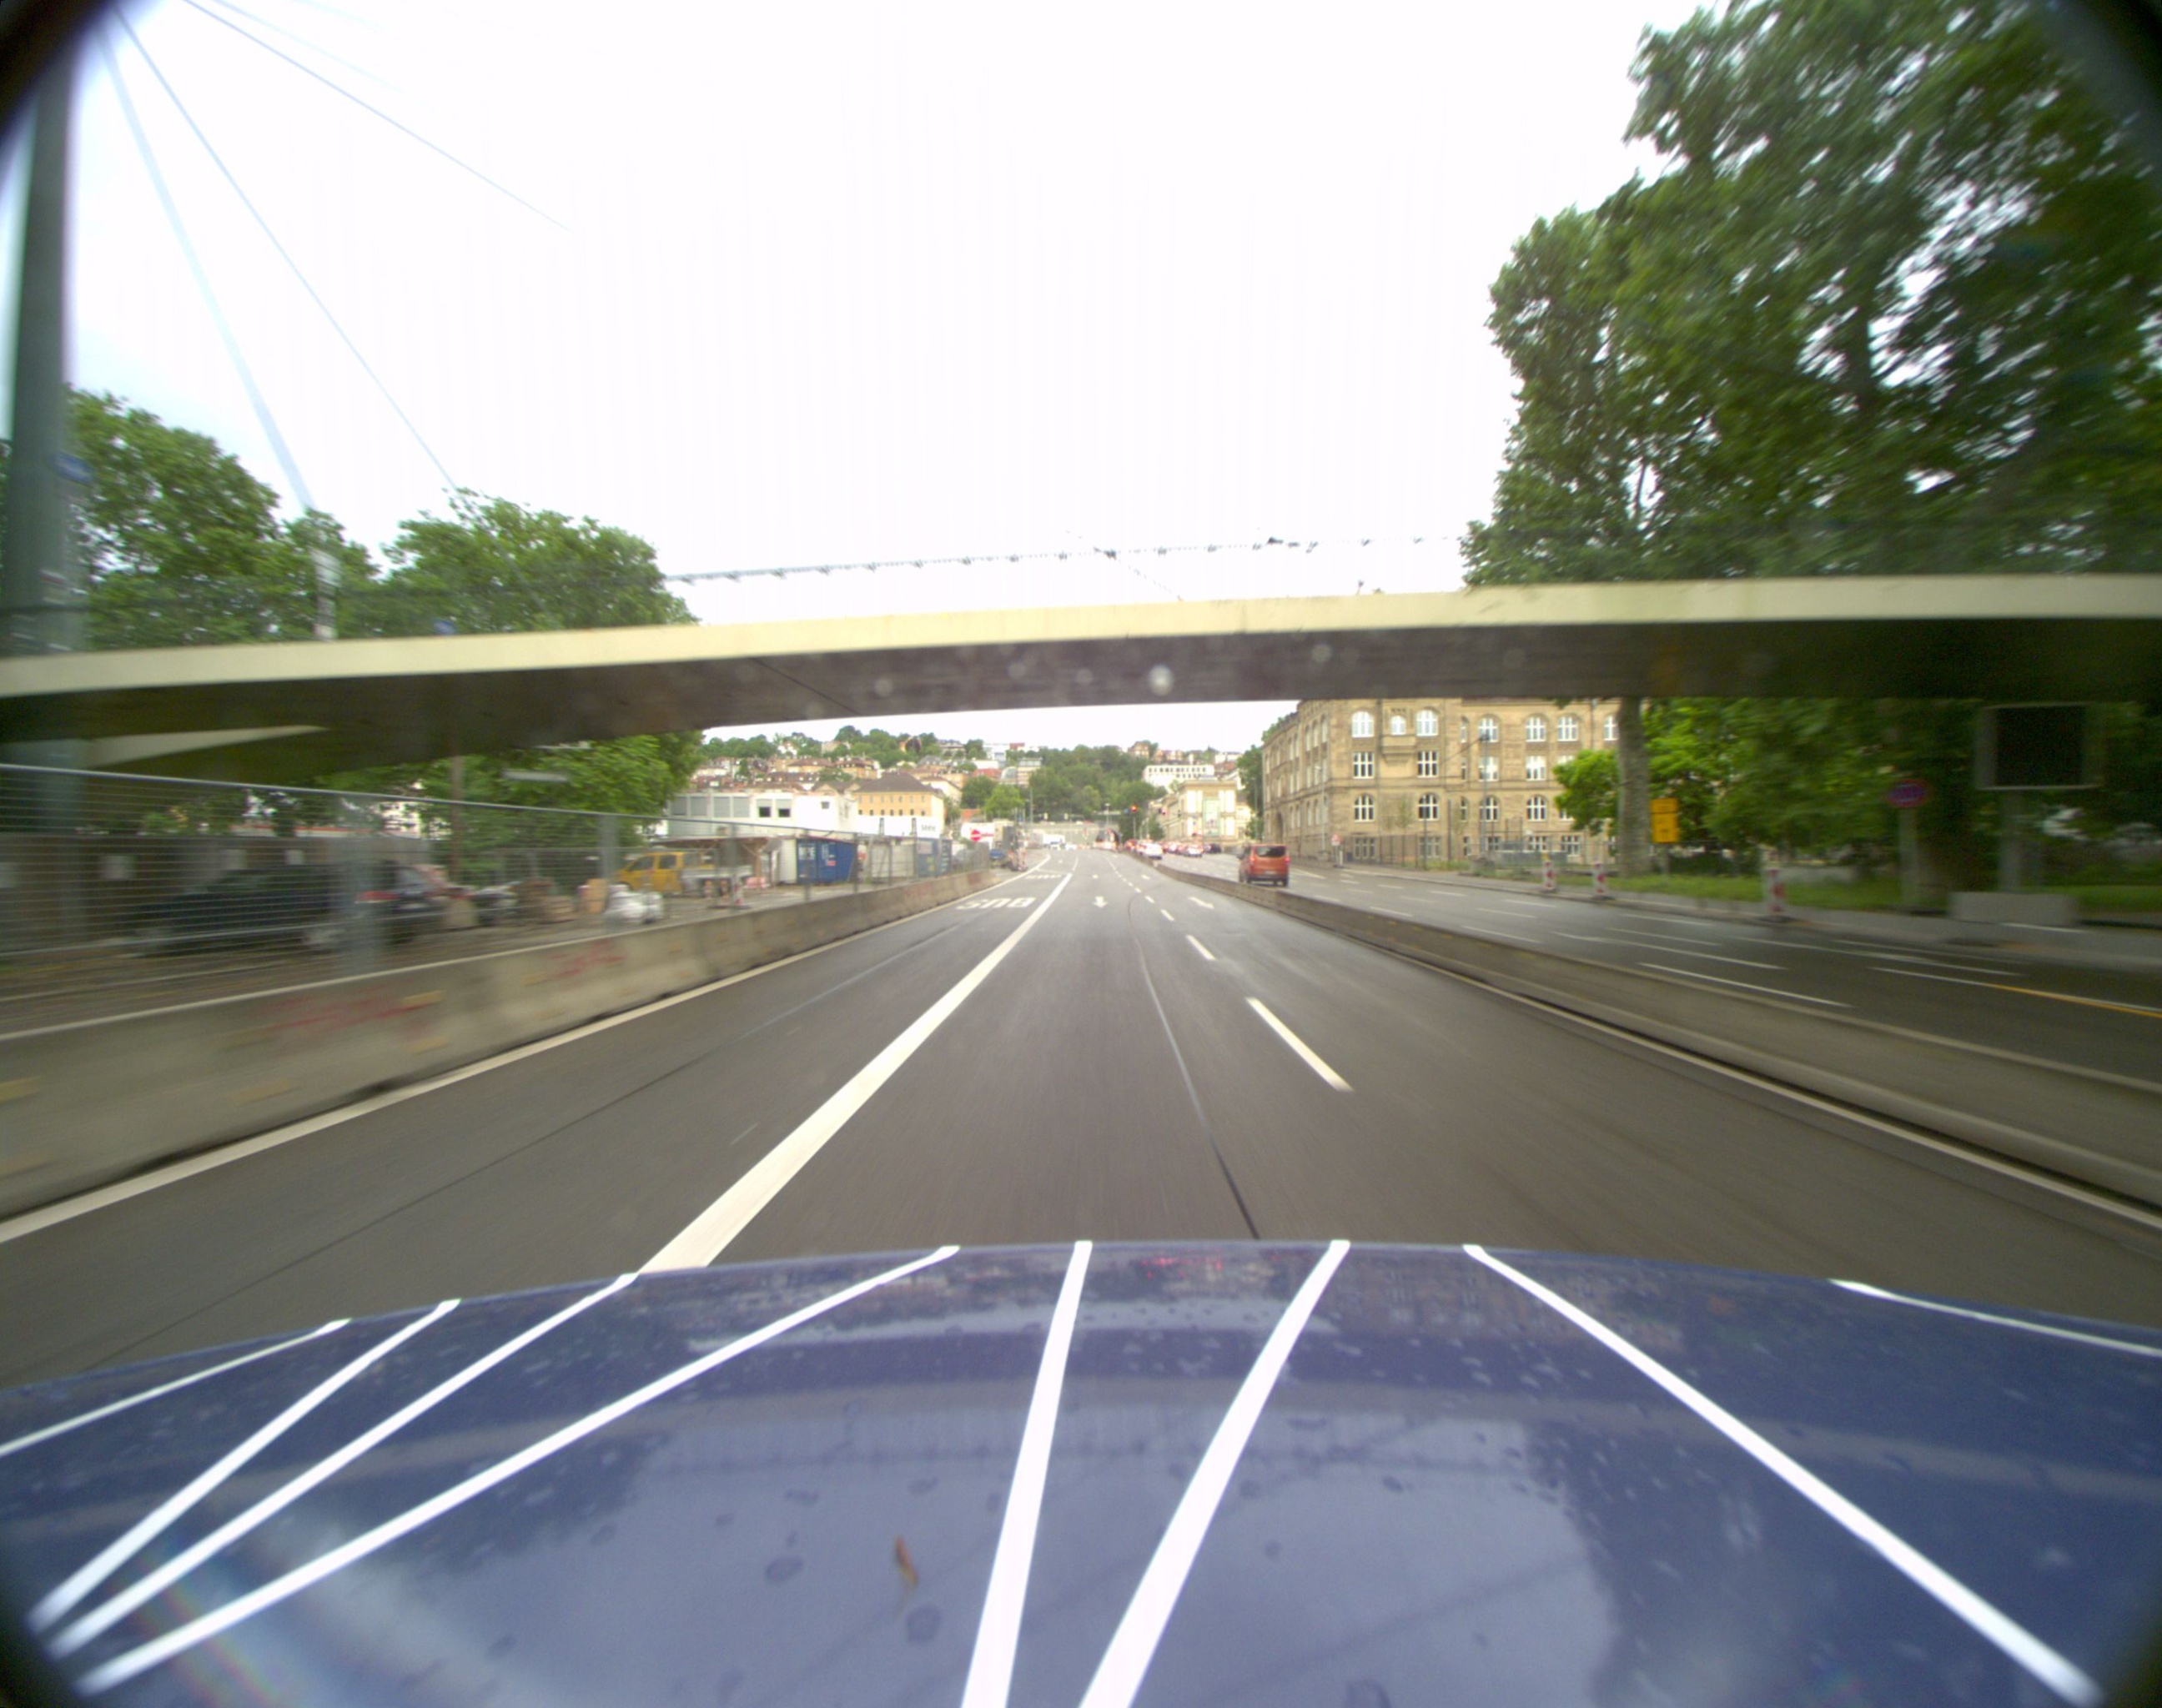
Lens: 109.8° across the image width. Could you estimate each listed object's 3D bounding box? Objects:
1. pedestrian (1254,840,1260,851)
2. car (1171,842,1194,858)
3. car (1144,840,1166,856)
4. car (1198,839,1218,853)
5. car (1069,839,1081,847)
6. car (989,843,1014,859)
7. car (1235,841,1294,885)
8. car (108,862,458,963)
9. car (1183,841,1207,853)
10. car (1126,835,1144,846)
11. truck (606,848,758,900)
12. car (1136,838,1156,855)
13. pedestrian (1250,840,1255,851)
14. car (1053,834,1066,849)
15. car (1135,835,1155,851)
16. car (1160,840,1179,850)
[{"bbox_3d":[25.438,-1.206,109.751,0.618,1.576,0.734,1,2,-6],"label":"pedestrian"},{"bbox_3d":[13.830,-0.552,103.773,2.000,2.002,3.996,1,2,-7],"label":"car"},{"bbox_3d":[8.242,-0.689,84.998,1.899,1.559,4.896,1,2,-1],"label":"car"},{"bbox_3d":[19.391,-1.272,116.067,2.000,2.002,3.996,1,2,-7],"label":"car"},{"bbox_3d":[-1.223,-2.230,154.027,2.000,1.561,3.996,1,2,-8],"label":"car"},{"bbox_3d":[-8.231,-0.317,79.286,1.836,1.433,4.413,-2,2,4],"label":"car"},{"bbox_3d":[9.117,0.375,38.213,2.035,1.926,5.044,1,2,4],"label":"car"},{"bbox_3d":[-15.459,1.077,14.976,4.512,1.718,1.999,-1,1,-5],"label":"car"},{"bbox_3d":[14.329,-0.843,95.925,1.999,1.375,4.208,1,2,-5],"label":"car"},{"bbox_3d":[7.970,-2.043,111.949,1.999,1.559,5.379,1,2,-2],"label":"car"},{"bbox_3d":[-16.969,0.798,32.597,5.169,2.003,2.407,-1,2,-6],"label":"truck"},{"bbox_3d":[7.869,-0.917,91.941,1.914,1.856,4.376,1,2,-1],"label":"car"},{"bbox_3d":[24.751,-1.185,109.765,0.618,1.576,0.734,1,2,1],"label":"pedestrian"},{"bbox_3d":[-5.869,-3.437,208.418,2.836,3.991,8.722,1,2,1],"label":"car"},{"bbox_3d":[8.215,-1.458,98.500,1.999,1.856,5.592,1,2,-1],"label":"car"},{"bbox_3d":[12.796,-1.286,109.813,1.999,1.375,4.209,1,2,-3],"label":"car"}]
